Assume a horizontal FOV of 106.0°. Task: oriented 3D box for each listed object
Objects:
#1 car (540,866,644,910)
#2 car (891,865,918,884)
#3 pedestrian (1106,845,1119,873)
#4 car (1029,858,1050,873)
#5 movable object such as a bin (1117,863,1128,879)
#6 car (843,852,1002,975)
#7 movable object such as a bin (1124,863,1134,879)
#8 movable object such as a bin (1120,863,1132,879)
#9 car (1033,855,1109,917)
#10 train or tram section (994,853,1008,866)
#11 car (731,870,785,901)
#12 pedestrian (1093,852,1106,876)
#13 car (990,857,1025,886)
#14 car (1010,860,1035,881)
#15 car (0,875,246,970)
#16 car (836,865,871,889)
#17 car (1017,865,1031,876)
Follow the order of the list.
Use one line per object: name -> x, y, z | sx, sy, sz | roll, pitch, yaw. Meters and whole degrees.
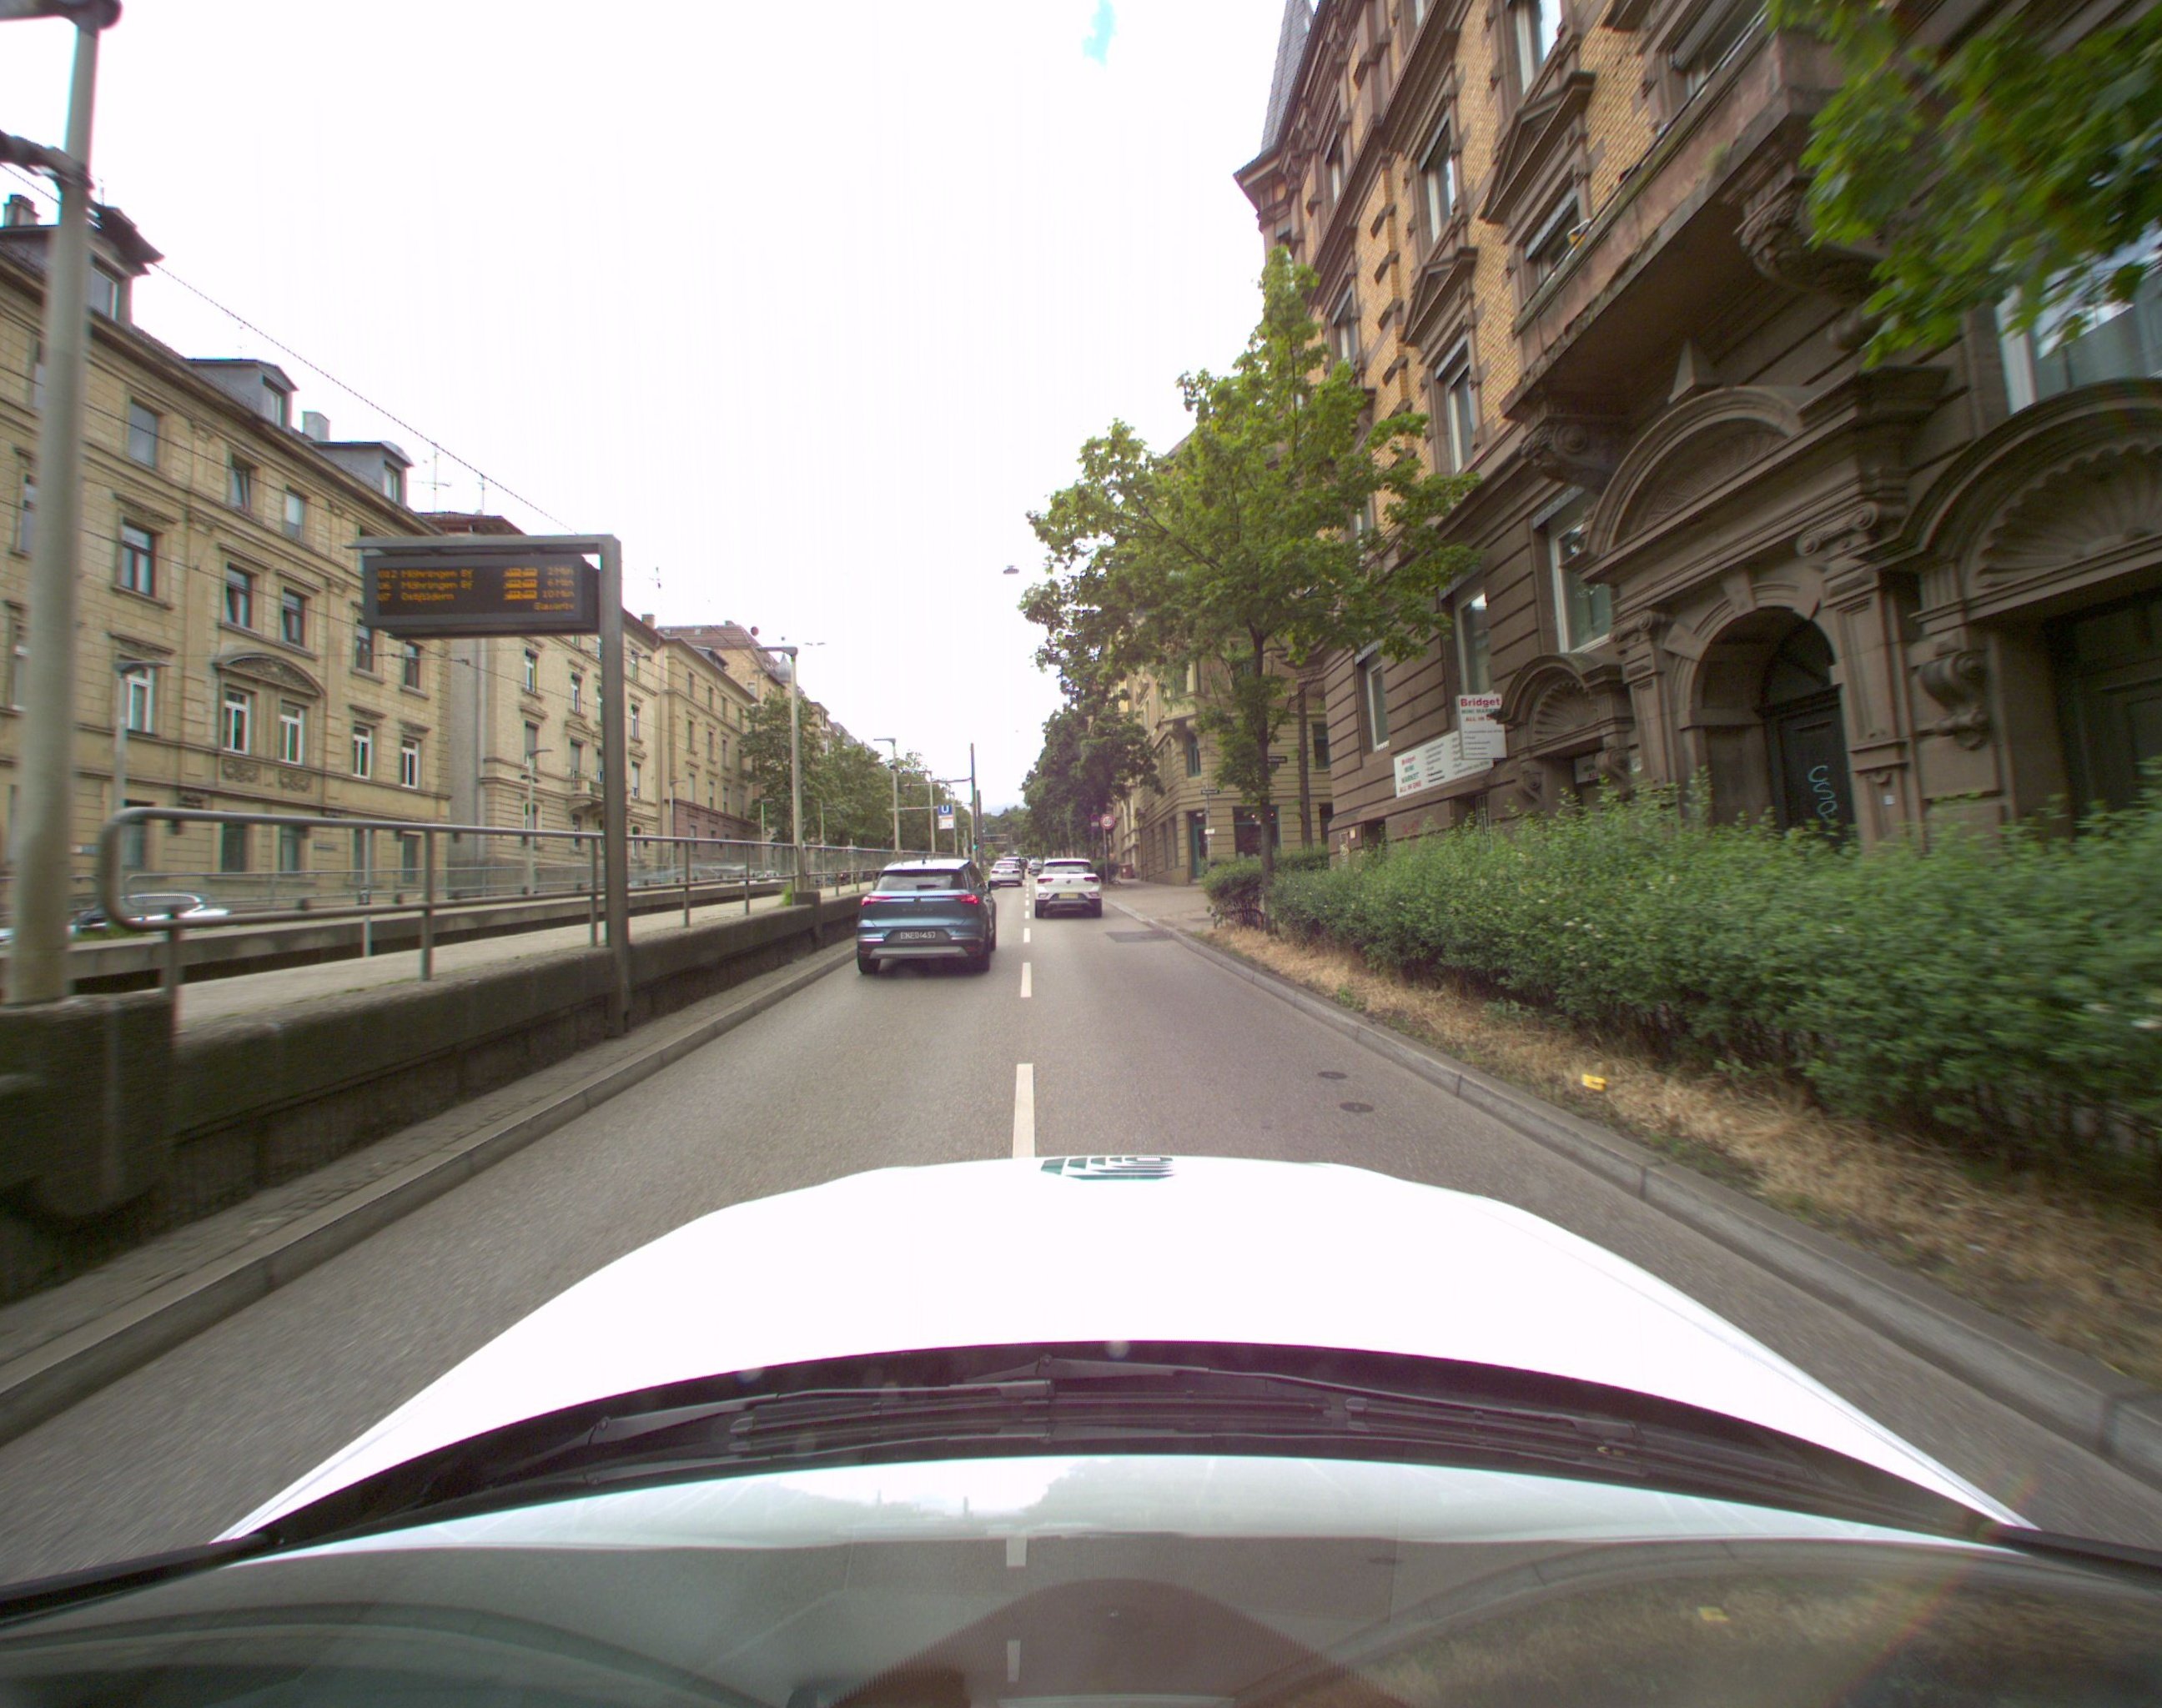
car -> -19.569, 1.307, 32.826 | 1.874, 1.528, 3.995 | -3, 0, -4
car -> -16.817, 1.929, 77.724 | 1.705, 1.735, 4.571 | -3, 0, -3
pedestrian -> 2.155, 0.359, 55.413 | 0.684, 1.829, 1.120 | -4, -1, -4
car -> -4.357, 1.218, 85.538 | 2.063, 1.546, 4.190 | -1, -1, -2
movable object such as a bin -> 2.595, 1.057, 50.647 | 0.610, 0.919, 0.493 | -4, -1, -2
car -> -2.228, 0.788, 12.539 | 1.832, 1.546, 4.188 | -1, -1, -3
movable object such as a bin -> 2.900, 1.044, 49.424 | 0.496, 0.919, 0.446 | -3, 0, 16
movable object such as a bin -> 2.756, 1.052, 50.068 | 0.487, 0.919, 0.505 | -5, -1, 45
car -> -0.381, 0.838, 22.716 | 1.832, 1.546, 4.186 | -1, -1, -5
train or tram section -> -21.930, 1.530, 223.882 | 2.989, 3.349, 13.424 | -2, -1, -3
car -> -20.308, 1.935, 51.365 | 1.932, 1.679, 3.994 | -3, 0, -4
pedestrian -> 1.269, 0.658, 55.518 | 0.684, 1.574, 1.215 | -4, 0, -4
car -> -4.200, 0.992, 47.098 | 1.832, 1.546, 4.188 | -1, -1, -3
car -> -4.434, 1.261, 62.196 | 1.832, 1.546, 4.188 | -1, -1, -3
car -> -18.686, 1.184, 15.332 | 1.765, 1.471, 4.253 | -1, 0, -5
car -> -19.363, 1.954, 69.586 | 1.844, 1.860, 4.135 | -3, 0, -2
car -> -8.875, 2.547, 126.674 | 2.065, 1.546, 4.186 | -1, -1, -5
